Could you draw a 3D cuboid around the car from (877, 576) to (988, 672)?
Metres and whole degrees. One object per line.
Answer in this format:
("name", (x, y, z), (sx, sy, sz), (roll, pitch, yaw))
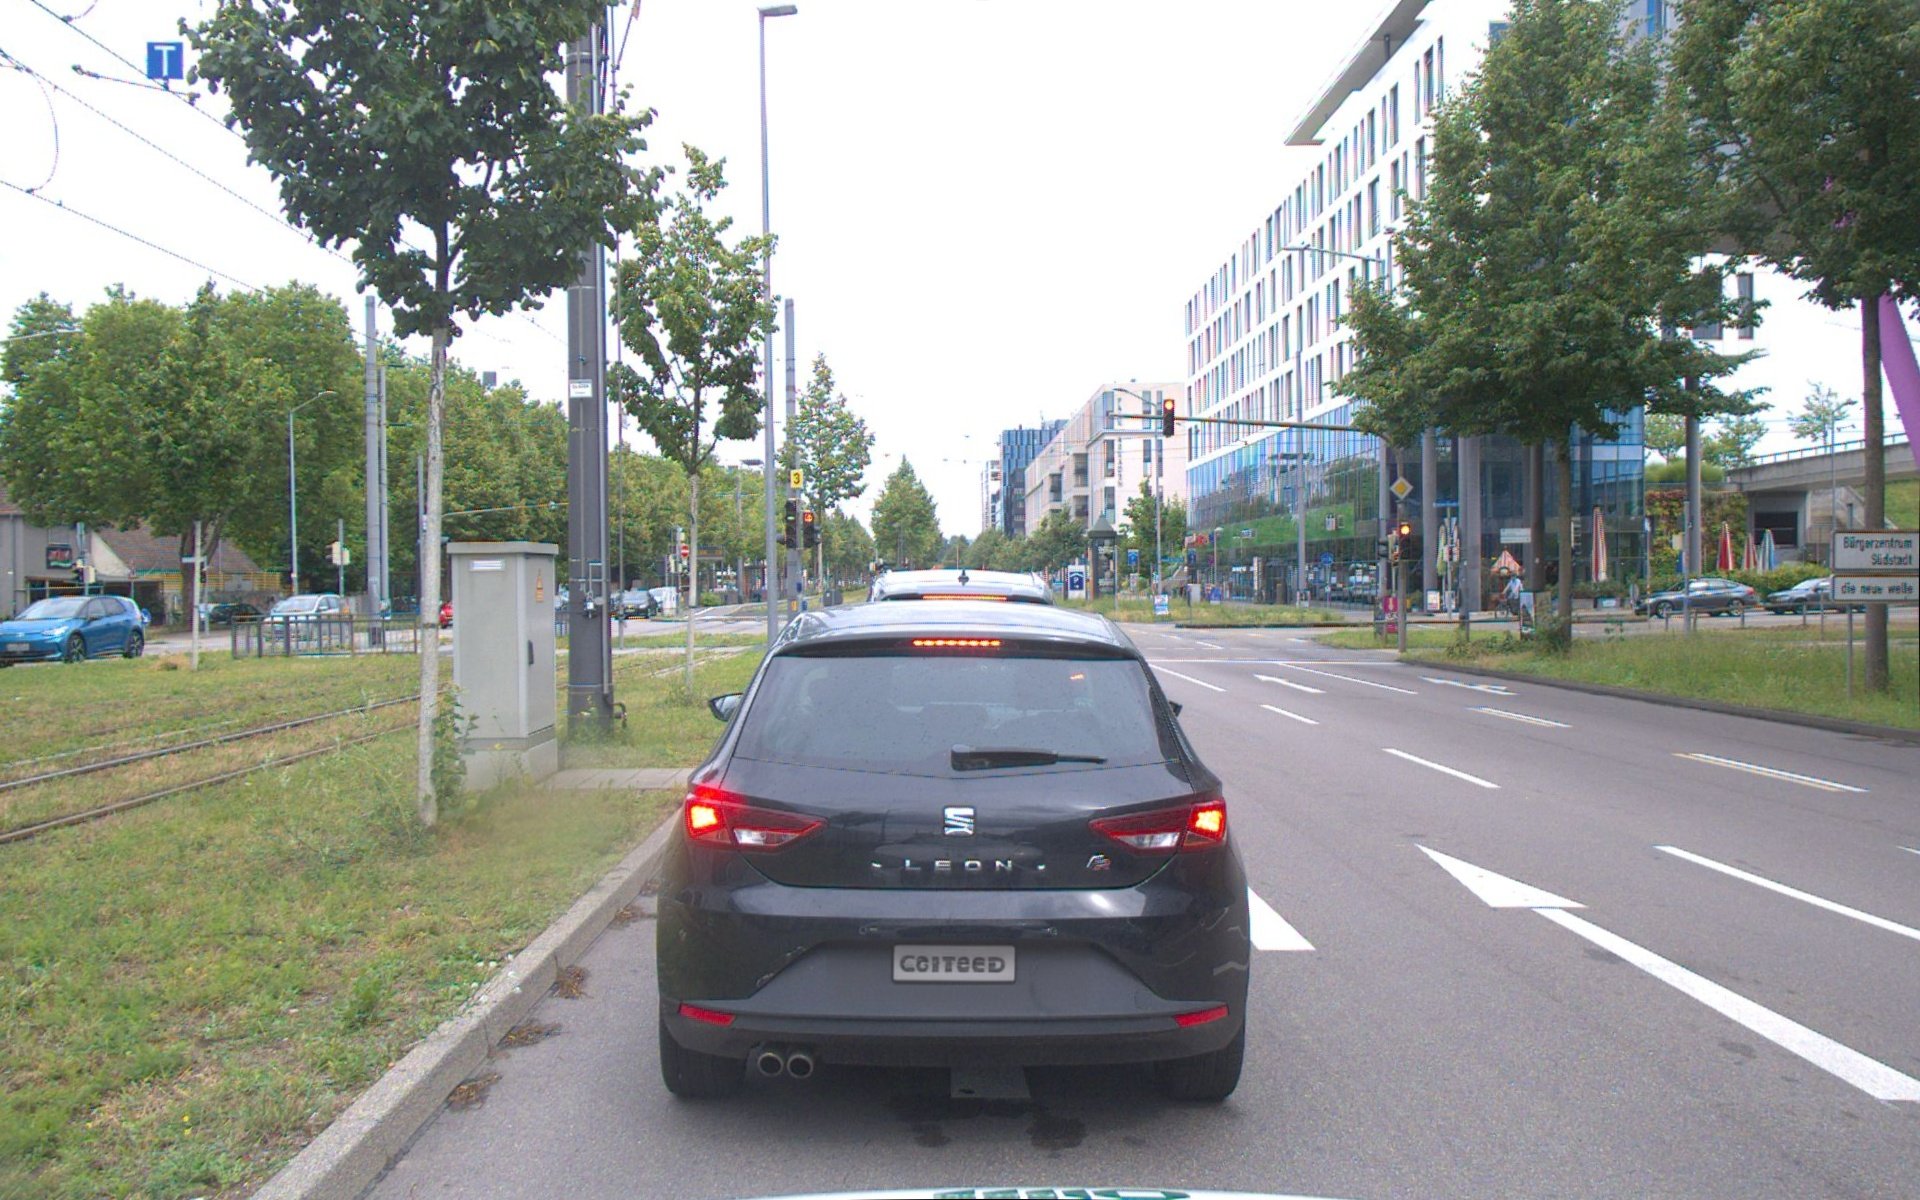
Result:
("car", (-0.466, 0.408, 31.823), (1.952, 1.711, 4.001), (1, 1, 1))

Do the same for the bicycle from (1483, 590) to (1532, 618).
("bicycle", (22.215, 0.172, 67.126), (1.755, 1.104, 0.618), (-1, 0, 1))

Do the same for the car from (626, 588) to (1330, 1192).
("car", (-0.006, 0.699, 6.041), (1.708, 1.442, 3.999), (1, 1, -2))

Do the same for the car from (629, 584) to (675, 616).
("car", (-17.937, -0.015, 96.436), (1.953, 1.780, 4.199), (-1, 1, -2))

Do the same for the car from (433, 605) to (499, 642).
("car", (-23.405, 1.101, 78.523), (1.759, 1.598, 4.328), (-1, 1, 0))

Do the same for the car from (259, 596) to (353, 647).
("car", (-23.344, 0.722, 59.238), (1.686, 1.672, 4.672), (-1, 1, -3))

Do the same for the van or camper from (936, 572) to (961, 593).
("van or camper", (-0.943, -1.444, 136.513), (1.953, 1.643, 4.789), (0, 2, 0))

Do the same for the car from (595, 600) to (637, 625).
("car", (-20.716, 0.723, 99.766), (1.765, 1.401, 4.056), (-1, 1, -2))

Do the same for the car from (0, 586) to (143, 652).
("car", (-23.369, 0.483, 43.362), (1.760, 1.598, 4.576), (2, 0, -3))

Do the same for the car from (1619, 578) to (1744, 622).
("car", (28.512, -0.011, 65.420), (4.163, 1.643, 1.758), (-1, 1, 1))

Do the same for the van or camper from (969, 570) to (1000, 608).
("van or camper", (1.640, -0.767, 112.488), (2.066, 2.397, 4.924), (0, 2, 0))

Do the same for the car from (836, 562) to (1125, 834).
("car", (0.099, 0.580, 12.229), (1.766, 1.652, 3.999), (-1, 1, -1))

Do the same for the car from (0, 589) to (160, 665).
("car", (-20.422, 0.569, 38.203), (1.926, 1.616, 4.684), (0, 1, -5))

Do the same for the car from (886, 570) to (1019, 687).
("car", (-0.041, 0.397, 26.592), (1.952, 1.711, 4.001), (1, 1, 2))

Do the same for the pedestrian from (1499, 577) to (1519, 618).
("pedestrian", (22.274, -0.100, 67.118), (0.602, 1.632, 0.619), (-1, 0, 1))
